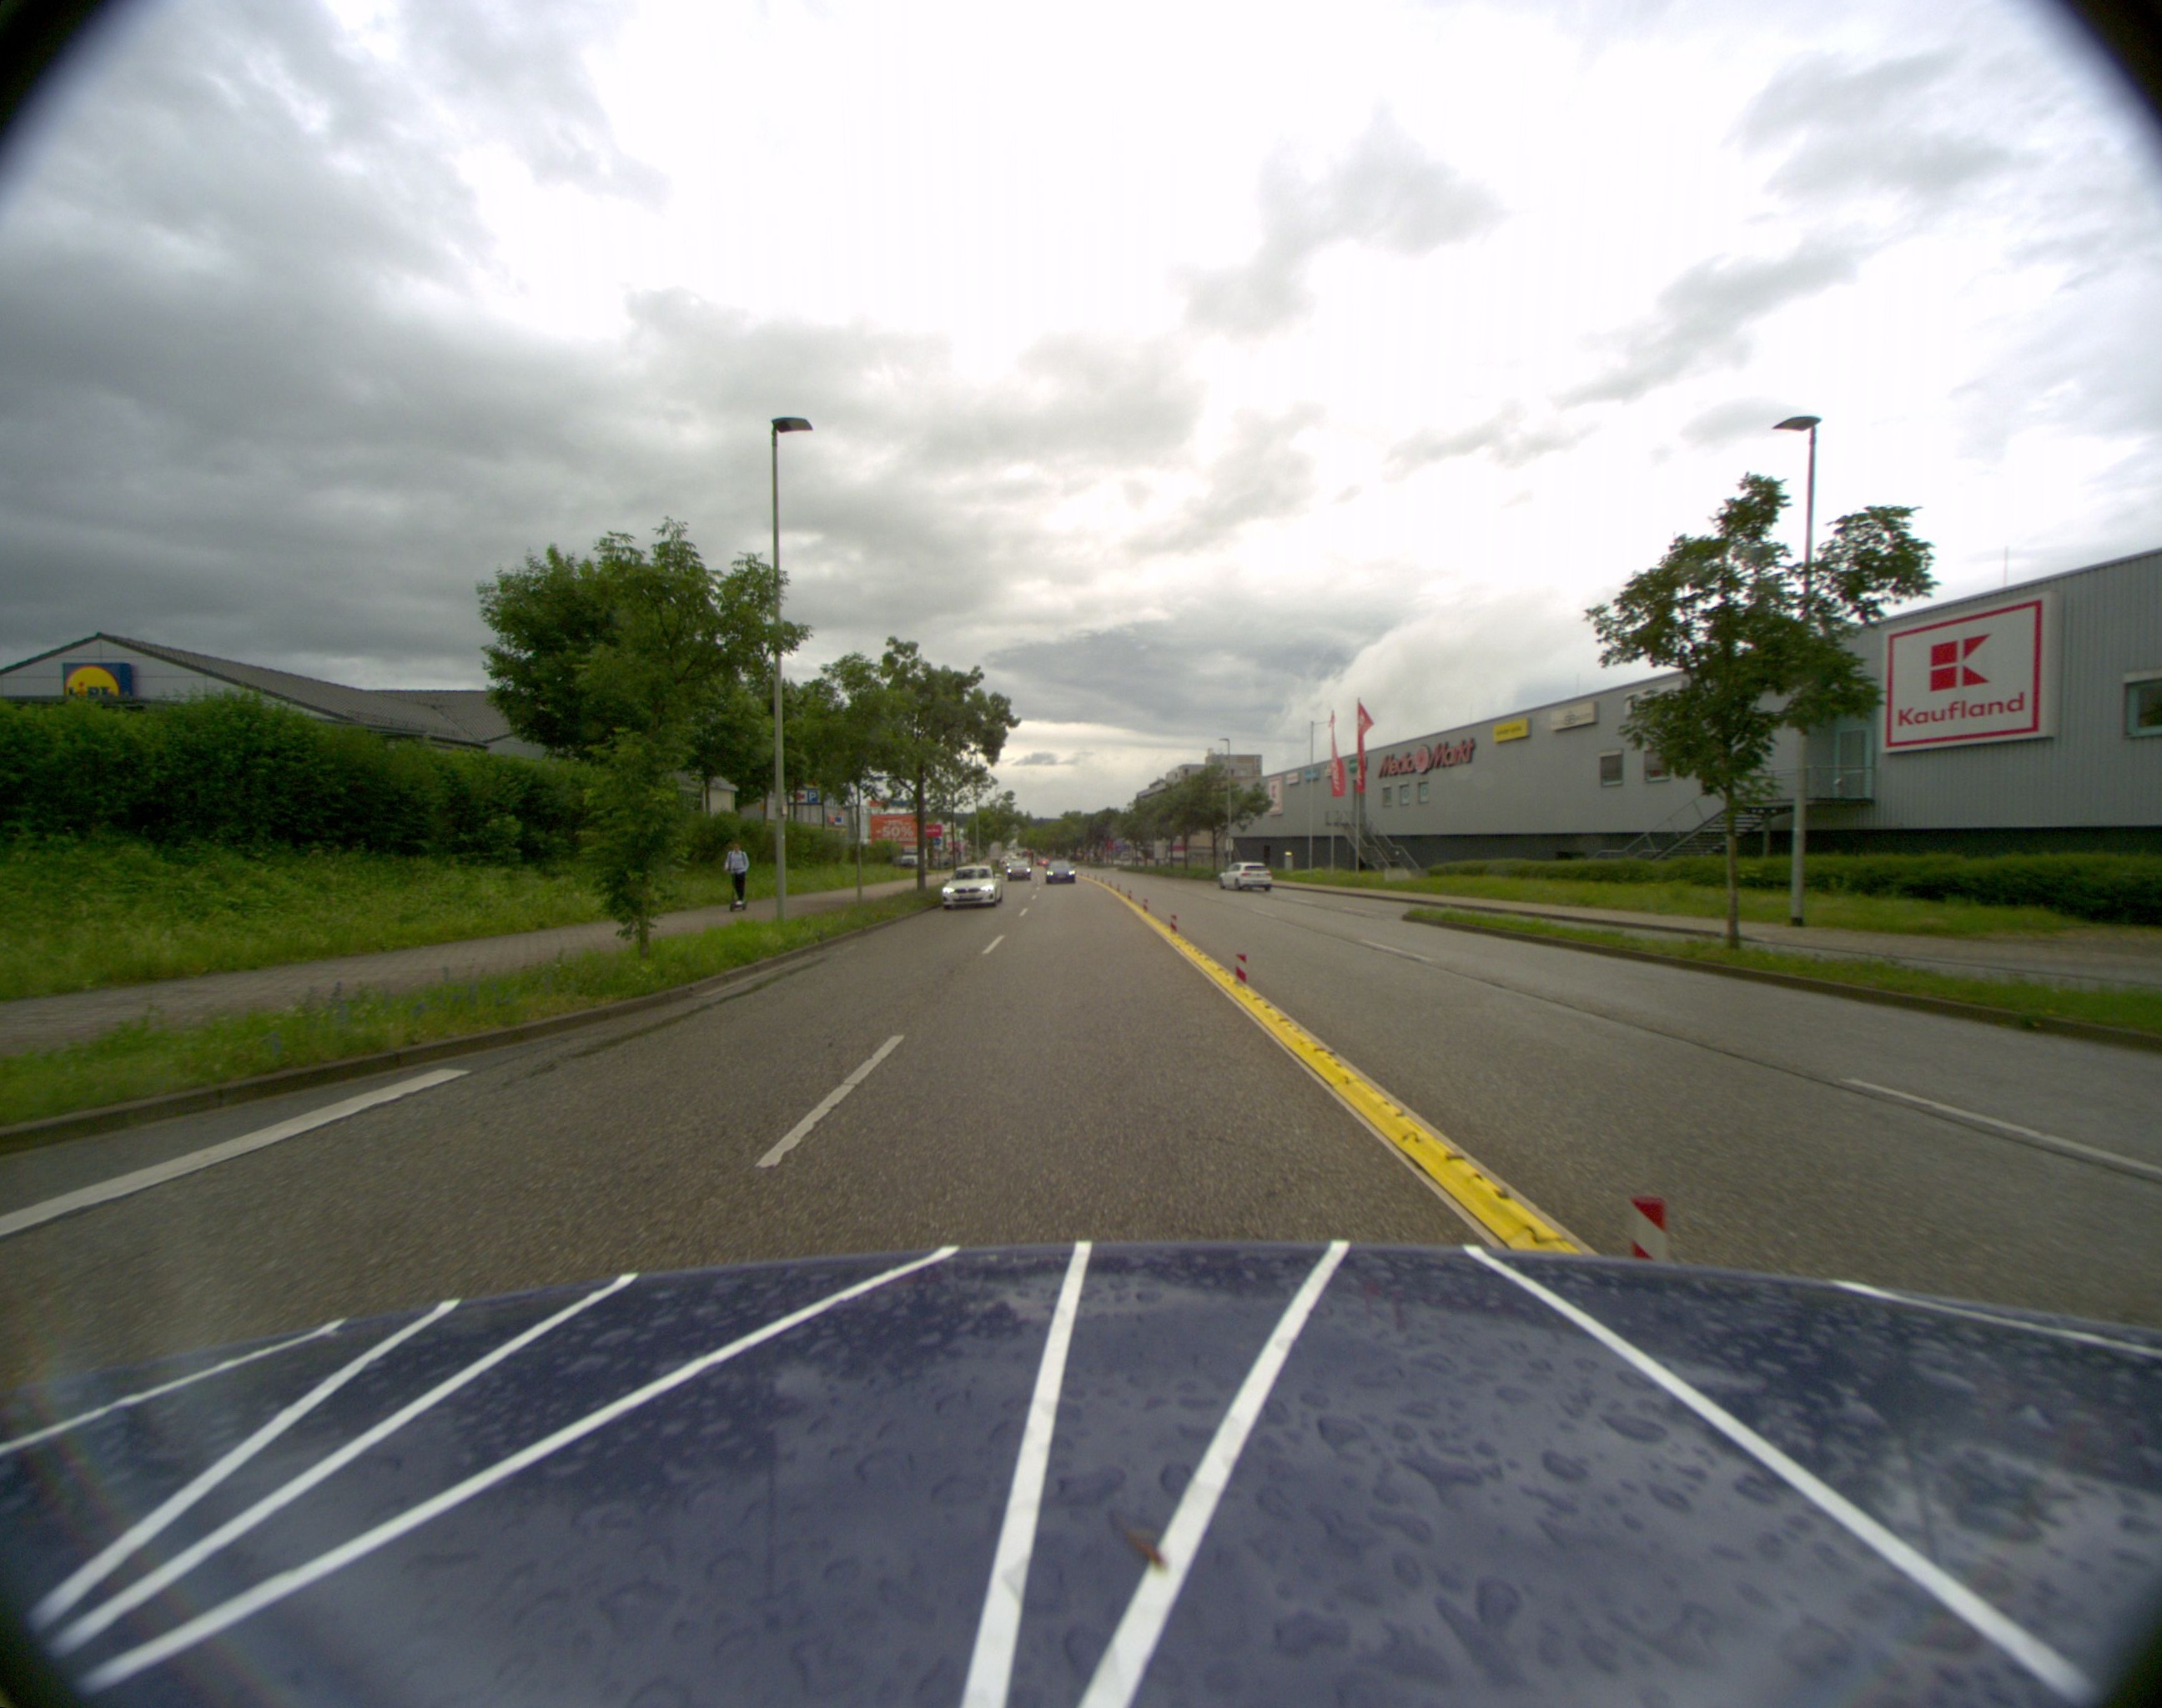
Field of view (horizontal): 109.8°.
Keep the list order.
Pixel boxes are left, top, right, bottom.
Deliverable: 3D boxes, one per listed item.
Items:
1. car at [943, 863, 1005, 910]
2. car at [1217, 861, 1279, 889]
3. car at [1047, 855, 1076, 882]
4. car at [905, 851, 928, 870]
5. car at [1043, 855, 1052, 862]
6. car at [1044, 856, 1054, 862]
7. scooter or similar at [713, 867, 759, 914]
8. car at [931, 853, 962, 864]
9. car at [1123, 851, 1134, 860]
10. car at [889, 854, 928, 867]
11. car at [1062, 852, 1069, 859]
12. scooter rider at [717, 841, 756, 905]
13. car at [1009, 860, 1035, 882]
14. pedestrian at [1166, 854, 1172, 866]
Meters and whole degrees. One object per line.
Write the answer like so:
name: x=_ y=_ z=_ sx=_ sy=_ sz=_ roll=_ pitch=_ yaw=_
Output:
car: x=-3.832 y=1.132 z=27.894 sx=1.808 sy=1.432 sz=4.540 roll=-3 pitch=0 yaw=-3
car: x=8.715 y=1.056 z=40.012 sx=1.905 sy=1.400 sz=4.422 roll=0 pitch=0 yaw=-6
car: x=-1.256 y=0.905 z=49.597 sx=1.799 sy=1.572 sz=4.218 roll=-3 pitch=0 yaw=-1
car: x=-23.404 y=0.941 z=108.335 sx=2.233 sy=2.522 sz=5.677 roll=-3 pitch=1 yaw=-4
car: x=-7.405 y=1.027 z=167.918 sx=1.746 sy=1.398 sz=3.997 roll=0 pitch=0 yaw=-7
car: x=-6.837 y=1.025 z=161.360 sx=1.789 sy=1.398 sz=4.613 roll=0 pitch=0 yaw=-7
scooter or similar: x=-10.029 y=1.050 z=22.132 sx=0.696 sy=1.256 sz=1.400 roll=1 pitch=1 yaw=0
car: x=-22.385 y=0.796 z=126.111 sx=4.665 sy=1.591 sz=1.927 roll=2 pitch=0 yaw=4
car: x=11.789 y=0.265 z=188.463 sx=1.999 sy=2.002 sz=4.884 roll=-5 pitch=1 yaw=-1
car: x=-19.113 y=0.722 z=84.230 sx=4.107 sy=1.429 sz=1.795 roll=-1 pitch=-2 yaw=-18
car: x=-3.875 y=0.379 z=189.258 sx=1.621 sy=1.500 sz=3.710 roll=-4 pitch=2 yaw=-1
scooter rider: x=-10.014 y=0.545 z=22.107 sx=0.696 sy=1.810 sz=0.858 roll=1 pitch=1 yaw=0
car: x=-4.567 y=1.277 z=59.406 sx=1.799 sy=1.572 sz=4.217 roll=-3 pitch=0 yaw=-3
pedestrian: x=11.657 y=0.817 z=100.217 sx=0.586 sy=1.574 sz=0.766 roll=-3 pitch=1 yaw=-4
